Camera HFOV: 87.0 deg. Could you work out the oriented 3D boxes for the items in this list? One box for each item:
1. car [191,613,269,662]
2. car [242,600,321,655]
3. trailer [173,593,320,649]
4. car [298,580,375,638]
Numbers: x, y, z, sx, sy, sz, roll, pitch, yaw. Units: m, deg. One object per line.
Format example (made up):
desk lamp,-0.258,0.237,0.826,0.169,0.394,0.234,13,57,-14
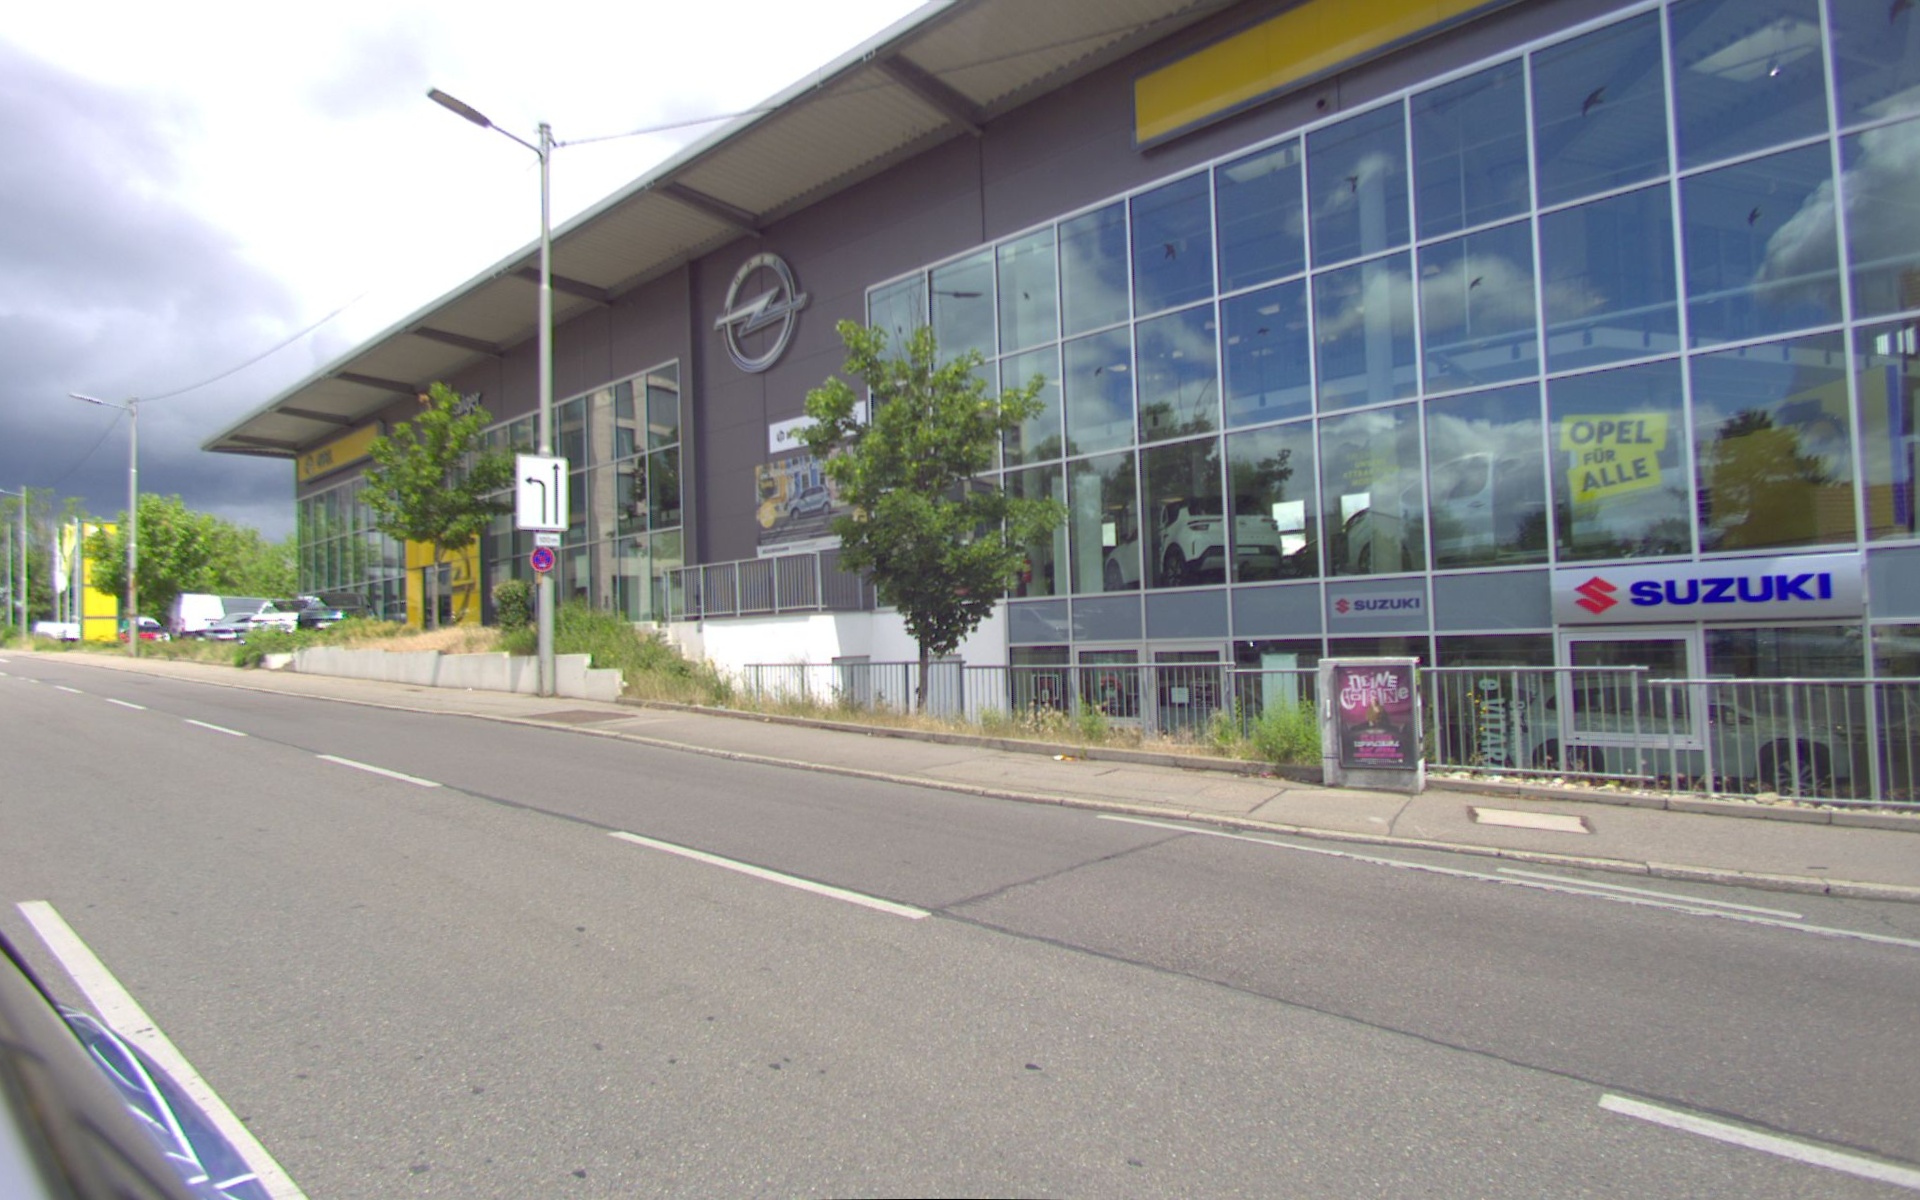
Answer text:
car,-28.059,1.409,39.001,1.966,1.807,4.012,1,-1,-29
car,-23.781,0.948,35.594,1.966,1.807,4.012,1,-1,-29
trailer,-31.914,0.927,45.410,1.998,2.367,5.011,-1,-2,39
car,-20.042,0.330,32.570,1.966,1.741,4.011,1,-2,-32
